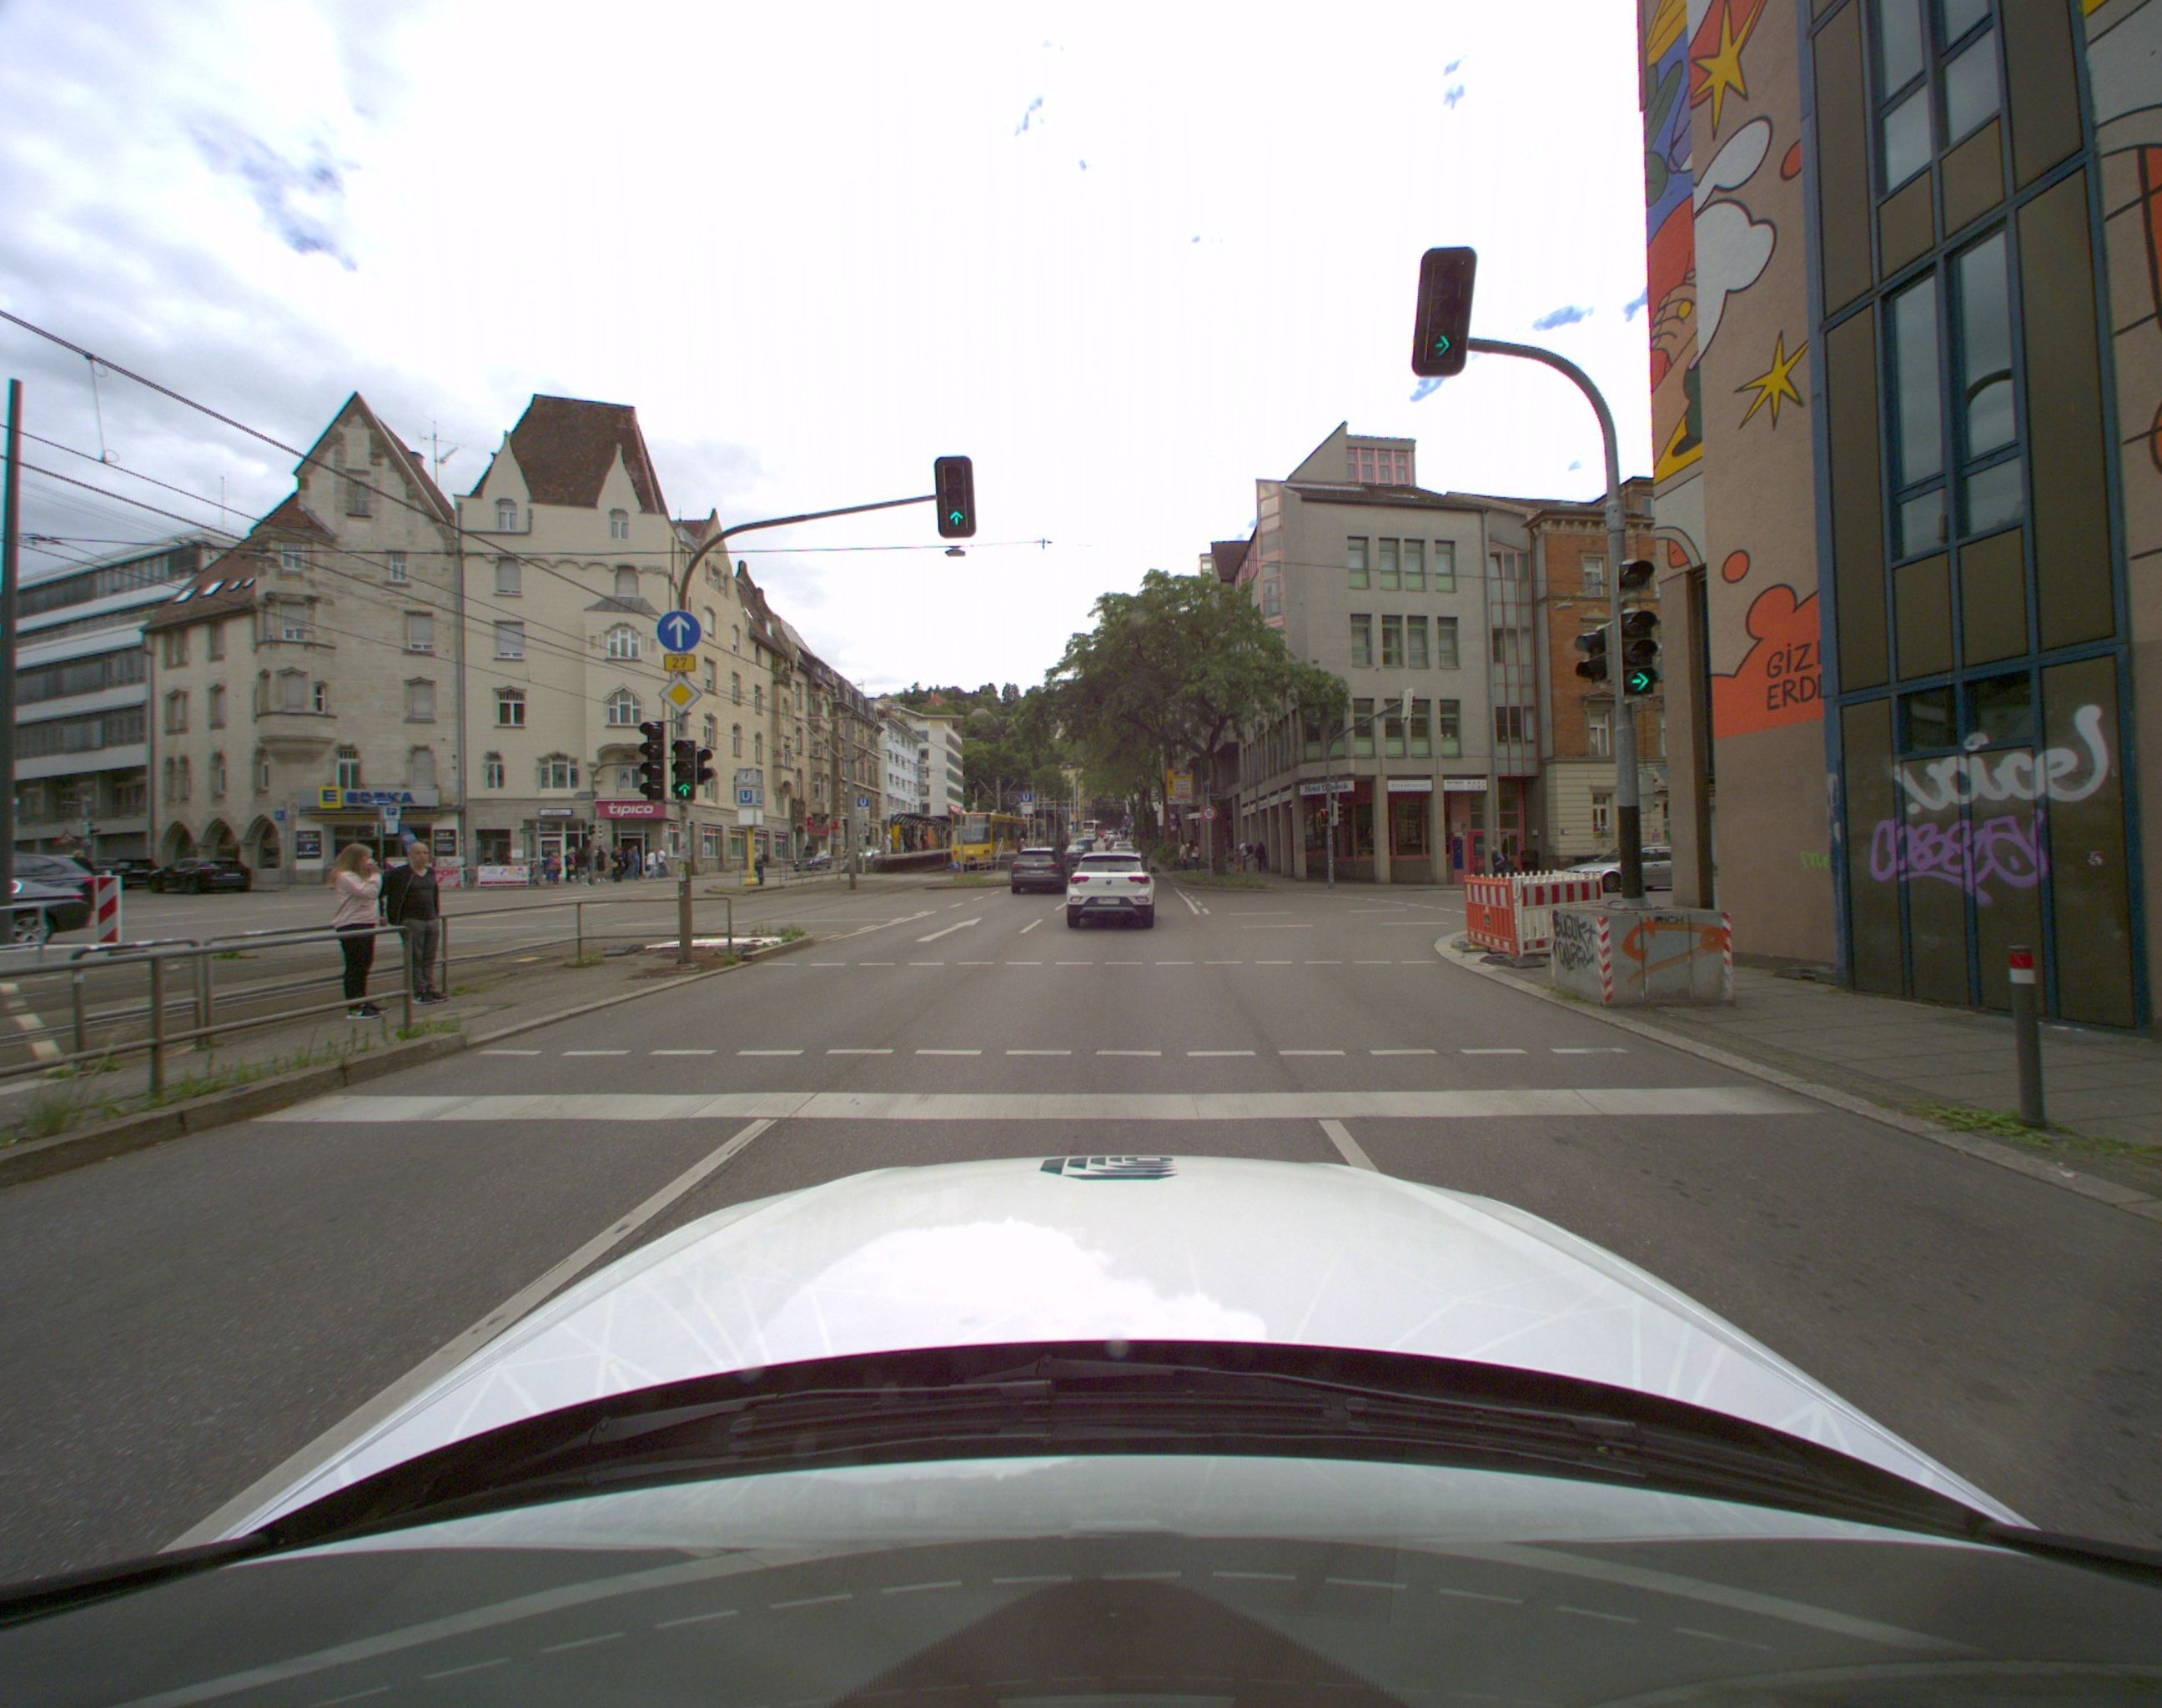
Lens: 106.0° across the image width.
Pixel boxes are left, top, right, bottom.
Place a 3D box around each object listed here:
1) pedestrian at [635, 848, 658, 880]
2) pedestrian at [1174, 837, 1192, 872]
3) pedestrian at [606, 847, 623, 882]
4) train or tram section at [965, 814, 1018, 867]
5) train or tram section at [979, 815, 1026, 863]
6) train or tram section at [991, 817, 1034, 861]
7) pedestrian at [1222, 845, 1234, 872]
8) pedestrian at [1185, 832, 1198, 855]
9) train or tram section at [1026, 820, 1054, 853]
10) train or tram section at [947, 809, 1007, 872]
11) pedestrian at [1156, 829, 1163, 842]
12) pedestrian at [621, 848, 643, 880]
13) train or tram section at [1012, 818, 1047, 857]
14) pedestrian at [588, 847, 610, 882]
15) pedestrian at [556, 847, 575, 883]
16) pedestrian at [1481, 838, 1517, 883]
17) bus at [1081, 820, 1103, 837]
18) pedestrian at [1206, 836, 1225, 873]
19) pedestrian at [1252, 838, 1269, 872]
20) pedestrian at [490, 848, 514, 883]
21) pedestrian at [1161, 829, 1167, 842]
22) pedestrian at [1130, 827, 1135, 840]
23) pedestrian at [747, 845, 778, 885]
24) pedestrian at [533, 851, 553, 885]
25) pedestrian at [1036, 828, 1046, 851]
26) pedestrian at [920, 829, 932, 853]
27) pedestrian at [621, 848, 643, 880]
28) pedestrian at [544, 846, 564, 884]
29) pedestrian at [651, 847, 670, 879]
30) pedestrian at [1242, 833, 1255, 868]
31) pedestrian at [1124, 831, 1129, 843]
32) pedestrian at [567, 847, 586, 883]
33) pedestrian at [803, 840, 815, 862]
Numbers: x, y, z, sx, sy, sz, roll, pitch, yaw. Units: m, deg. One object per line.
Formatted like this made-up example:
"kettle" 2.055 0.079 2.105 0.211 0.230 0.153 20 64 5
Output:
"pedestrian" -23.741 0.525 44.518 0.778 1.705 0.725 -1 0 7
"pedestrian" 5.313 0.025 42.494 0.691 1.777 0.689 -6 1 -3
"pedestrian" -23.960 0.556 41.824 0.505 1.779 0.580 -1 0 32
"train or tram section" -6.150 -0.970 56.570 2.824 3.520 5.755 0 1 2
"train or tram section" -5.920 -1.147 62.323 2.824 3.520 5.755 0 1 2
"train or tram section" -5.665 -1.276 68.103 2.824 3.520 5.755 0 1 2
"pedestrian" 7.265 0.210 40.286 0.470 1.333 0.519 0 0 -3
"pedestrian" 8.587 -0.818 63.179 0.760 1.782 0.847 -3 3 -4
"train or tram section" -4.608 -2.008 92.738 2.803 3.666 6.753 0 1 1
"train or tram section" -6.374 -0.867 50.804 2.824 3.678 5.755 0 1 2
"pedestrian" 9.921 -2.287 102.719 0.637 1.615 0.584 0 0 -19
"pedestrian" -24.041 0.543 43.591 0.778 1.705 0.655 -1 0 7
"train or tram section" -5.015 -1.611 79.694 2.802 3.666 5.906 0 1 2
"pedestrian" -24.735 0.530 41.775 0.780 1.779 0.672 -1 0 32
"pedestrian" -25.384 0.528 40.120 0.507 1.779 0.578 -1 0 8
"pedestrian" 16.274 0.234 31.725 1.111 1.712 0.861 -1 1 36
"bus" 2.235 -4.925 159.966 3.356 3.064 13.344 0 0 5
"pedestrian" 6.843 0.018 41.356 0.719 1.802 0.834 -3 3 -3
"pedestrian" 8.926 0.056 40.571 0.756 1.611 0.620 -2 3 13
"pedestrian" -29.596 0.575 41.621 0.571 1.779 0.823 -1 0 11
"pedestrian" 10.519 -2.292 102.950 0.637 1.608 0.584 0 0 -19
"pedestrian" 8.375 -3.348 131.217 0.758 2.013 0.840 0 0 7
"pedestrian" -13.600 0.462 34.758 0.866 1.705 0.817 -1 0 30
"pedestrian" -25.578 0.677 38.725 0.572 1.582 0.512 -1 0 3
"pedestrian" -3.083 -1.099 62.483 0.715 1.730 0.671 0 0 3
"pedestrian" -11.660 -0.997 61.241 0.624 1.762 0.847 -1 0 3
"pedestrian" -23.263 0.511 42.230 0.668 1.677 0.694 -1 0 19
"pedestrian" -25.422 0.526 39.301 0.572 1.779 0.512 -1 0 6
"pedestrian" -22.987 0.502 44.532 0.600 1.705 0.711 -1 0 7
"pedestrian" 8.594 -0.171 41.832 0.517 1.789 0.764 0 0 -3
"pedestrian" 7.842 -2.991 140.725 0.758 2.013 0.840 0 0 7
"pedestrian" -25.267 0.547 40.787 0.507 1.779 0.577 -1 0 4
"pedestrian" -22.562 -0.241 67.531 0.632 1.762 0.836 -1 0 -41
